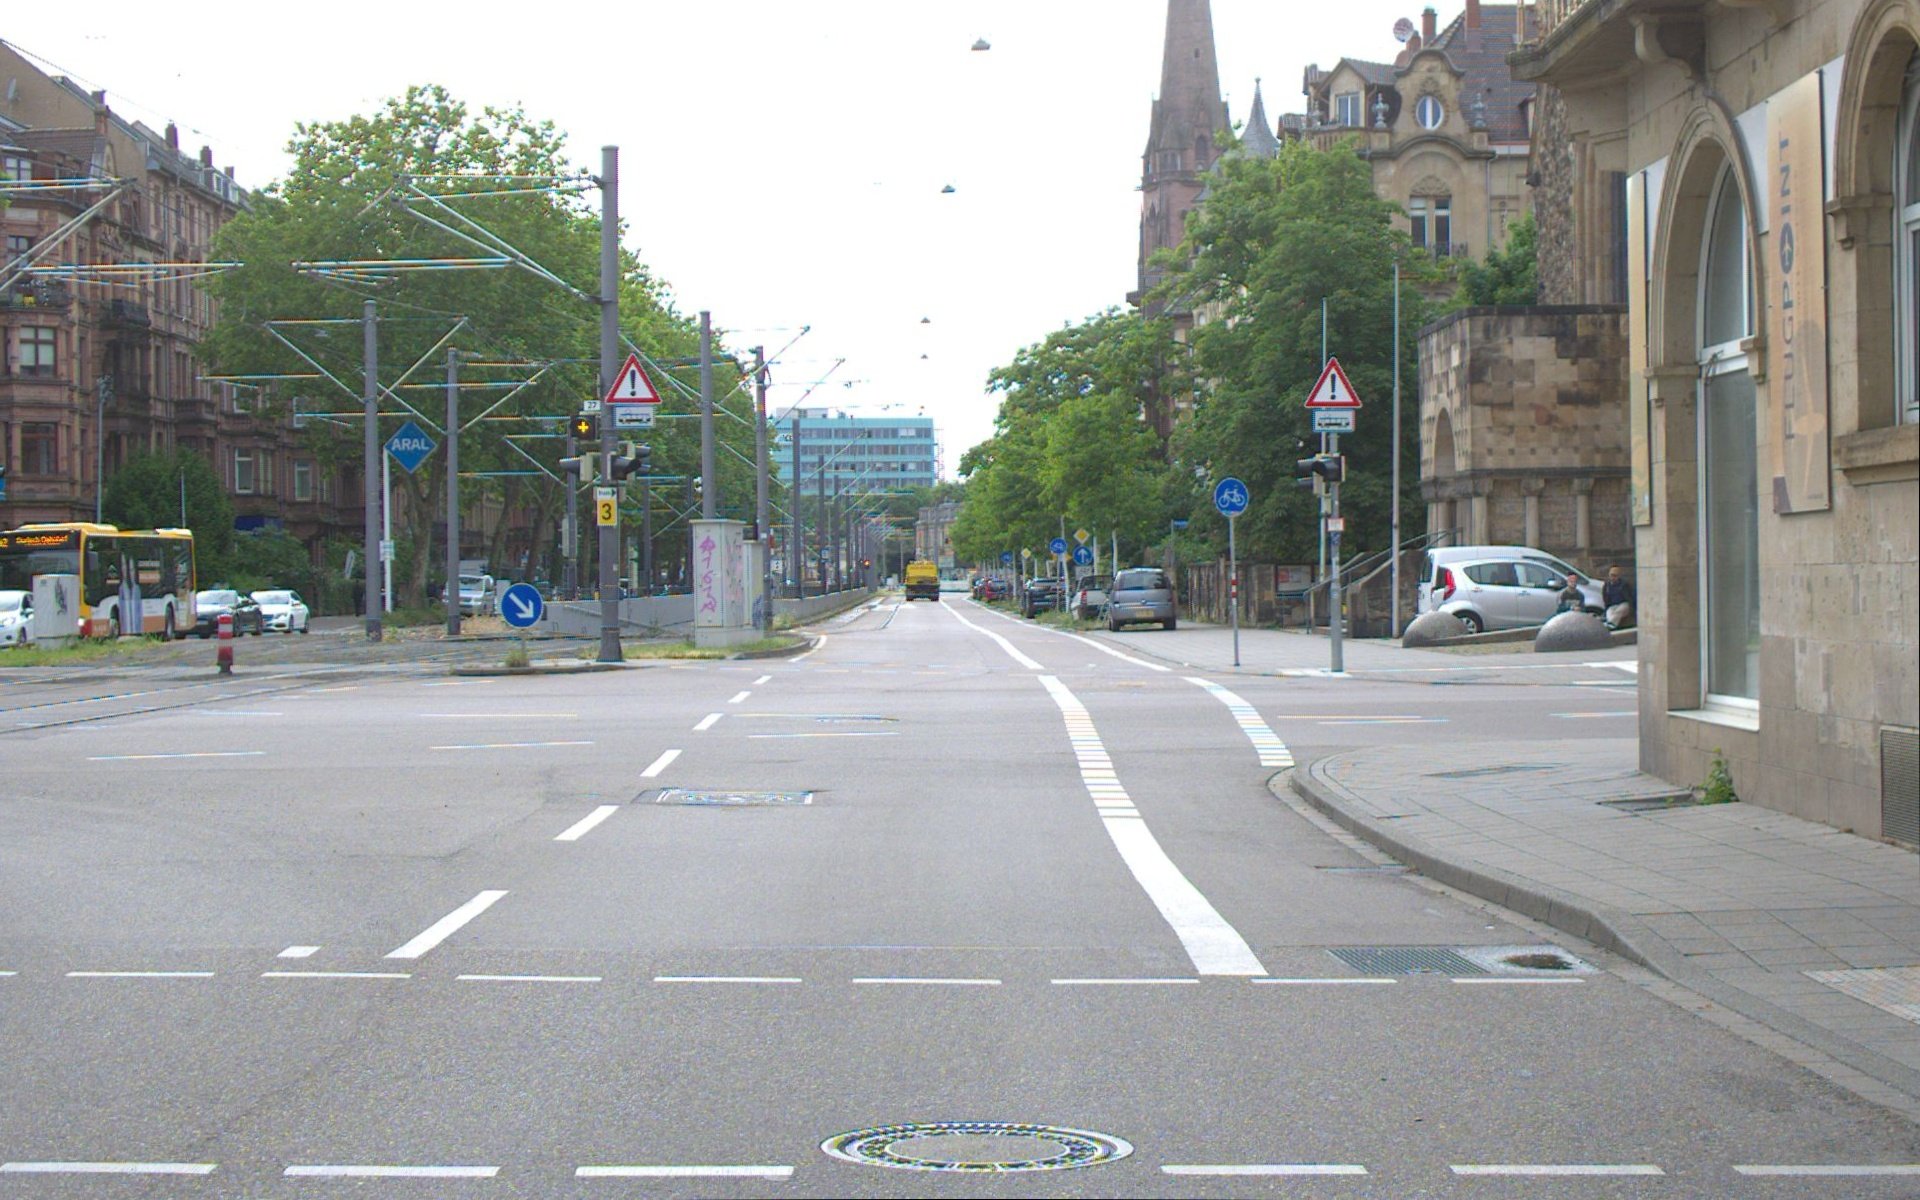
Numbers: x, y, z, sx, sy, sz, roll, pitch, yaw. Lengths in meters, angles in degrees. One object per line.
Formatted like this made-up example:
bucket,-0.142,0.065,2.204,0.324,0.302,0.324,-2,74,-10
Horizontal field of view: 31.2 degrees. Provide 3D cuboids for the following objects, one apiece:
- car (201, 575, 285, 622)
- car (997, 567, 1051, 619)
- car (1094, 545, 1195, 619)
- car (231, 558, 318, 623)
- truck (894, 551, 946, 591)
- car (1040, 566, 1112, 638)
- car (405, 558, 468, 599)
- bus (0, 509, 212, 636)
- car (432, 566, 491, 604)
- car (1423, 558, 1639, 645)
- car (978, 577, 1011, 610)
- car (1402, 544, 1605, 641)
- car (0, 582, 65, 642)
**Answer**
car,-21.305,-0.058,102.268,1.656,1.316,3.638,1,1,1
car,2.529,-0.282,136.088,1.993,2.007,4.000,1,1,-1
car,4.861,-0.475,90.005,1.994,1.849,4.024,1,1,12
car,-21.845,-0.329,109.622,1.993,2.007,4.000,1,1,-1
truck,-2.813,-2.104,246.447,3.055,2.759,9.814,0,1,3
car,3.336,0.029,99.628,1.993,2.007,4.000,1,1,1
car,-21.546,-0.889,141.540,1.993,1.605,4.000,1,1,-1
bus,-22.484,-0.738,89.114,3.231,3.025,12.311,1,1,1
car,-21.637,-0.649,149.357,1.993,1.605,4.000,1,1,-1
car,10.759,0.017,64.945,3.713,1.558,2.000,1,0,0
car,2.182,-0.412,216.857,1.993,2.007,4.000,1,1,-1
car,10.787,-0.161,68.425,3.713,1.849,2.000,1,0,0
car,-21.916,0.252,79.065,1.656,1.316,3.638,1,1,1
